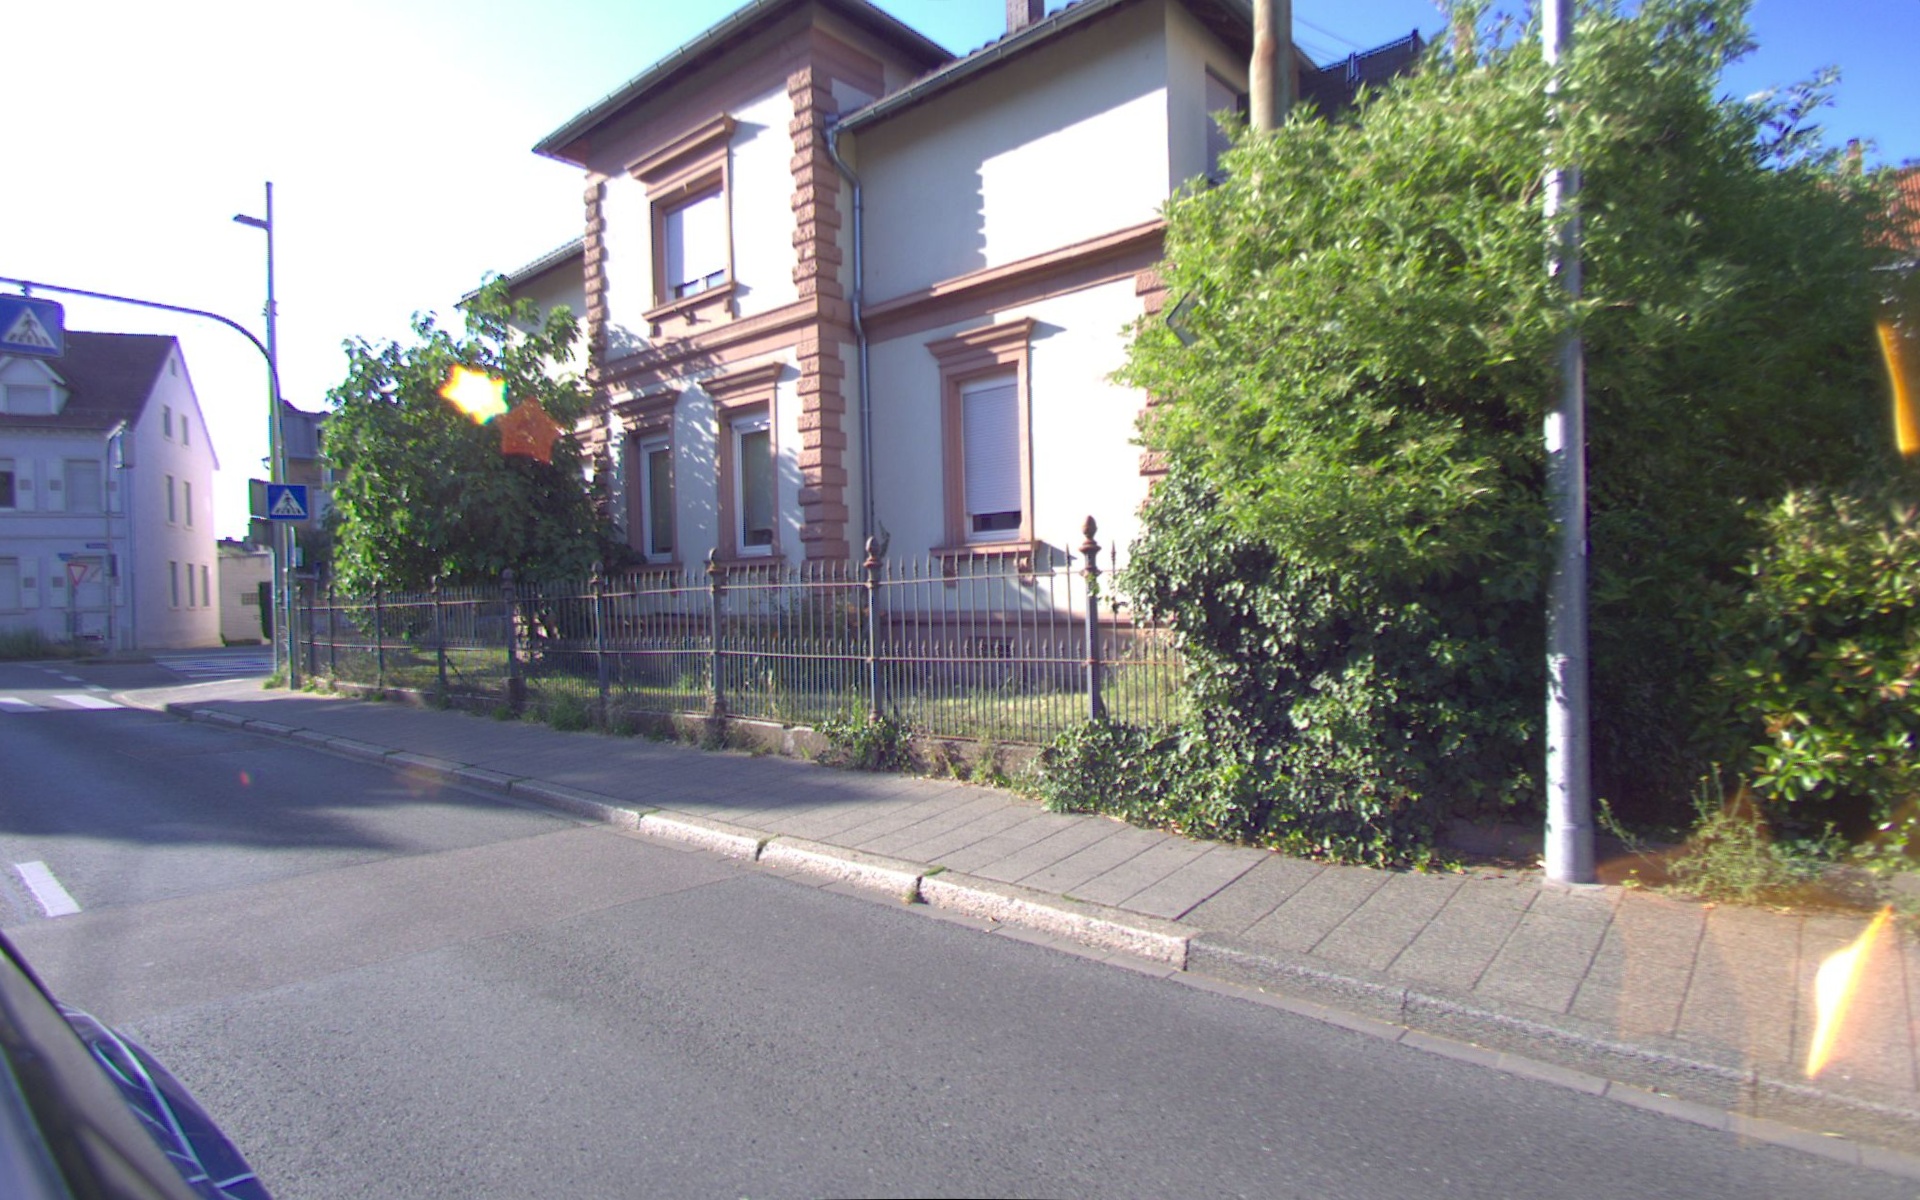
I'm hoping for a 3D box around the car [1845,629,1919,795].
[{"bbox_3d":[10.659,1.056,9.166,3.785,1.529,1.824,-1,-4,37],"label":"car"}]

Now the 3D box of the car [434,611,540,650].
[{"bbox_3d":[-20.637,1.306,44.206,1.702,1.465,3.827,-1,1,44],"label":"car"}]
